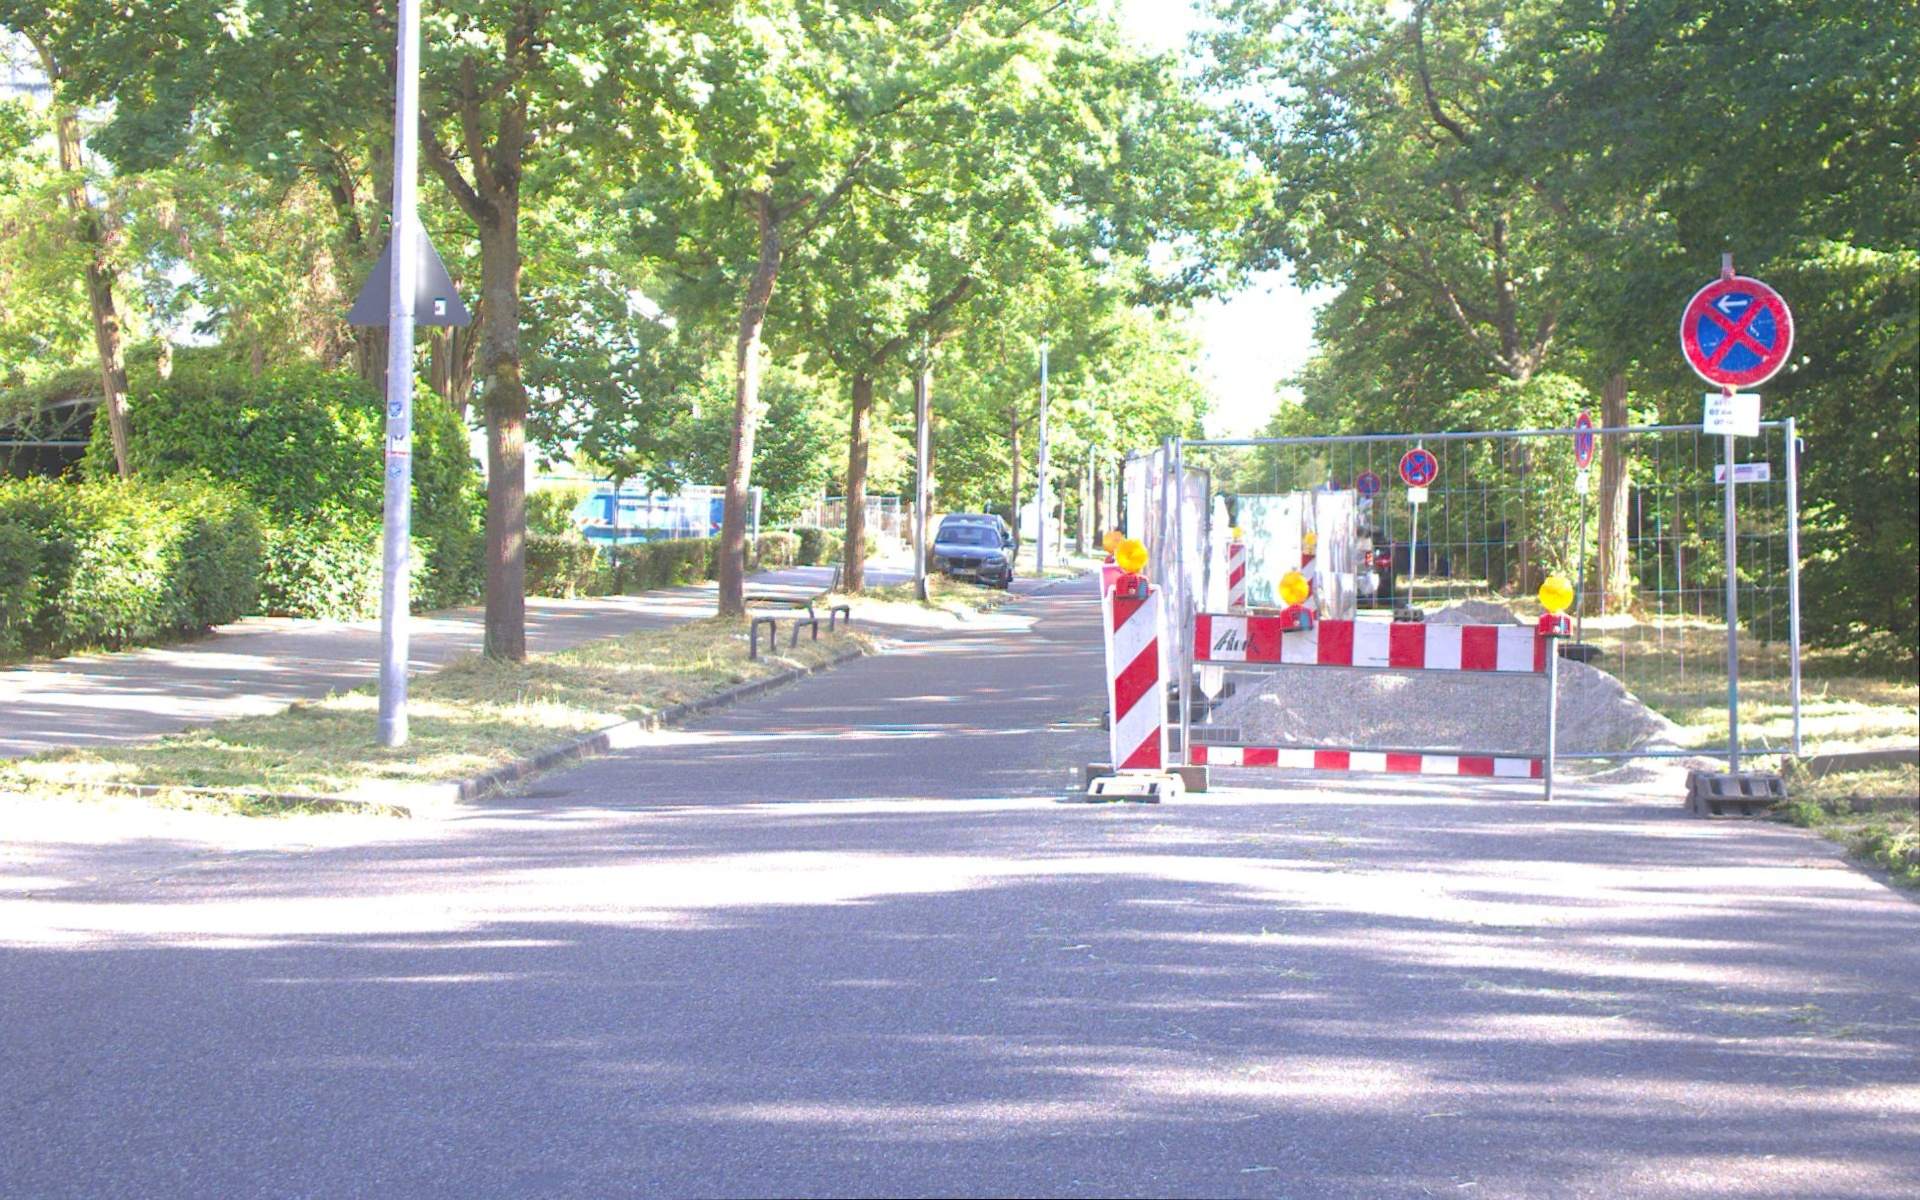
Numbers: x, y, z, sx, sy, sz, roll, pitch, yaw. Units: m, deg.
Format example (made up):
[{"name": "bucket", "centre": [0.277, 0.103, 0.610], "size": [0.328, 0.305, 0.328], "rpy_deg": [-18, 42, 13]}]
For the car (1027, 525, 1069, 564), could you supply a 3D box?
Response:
[{"name": "car", "centre": [3.099, -1.934, 120.808], "size": [1.361, 1.297, 3.481], "rpy_deg": [2, 1, 2]}]

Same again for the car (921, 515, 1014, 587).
[{"name": "car", "centre": [0.182, -1.072, 74.037], "size": [1.751, 1.473, 3.836], "rpy_deg": [1, 1, 3]}]

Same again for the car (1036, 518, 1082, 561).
[{"name": "car", "centre": [3.158, -1.918, 109.038], "size": [1.361, 1.297, 3.481], "rpy_deg": [2, 1, 2]}]
